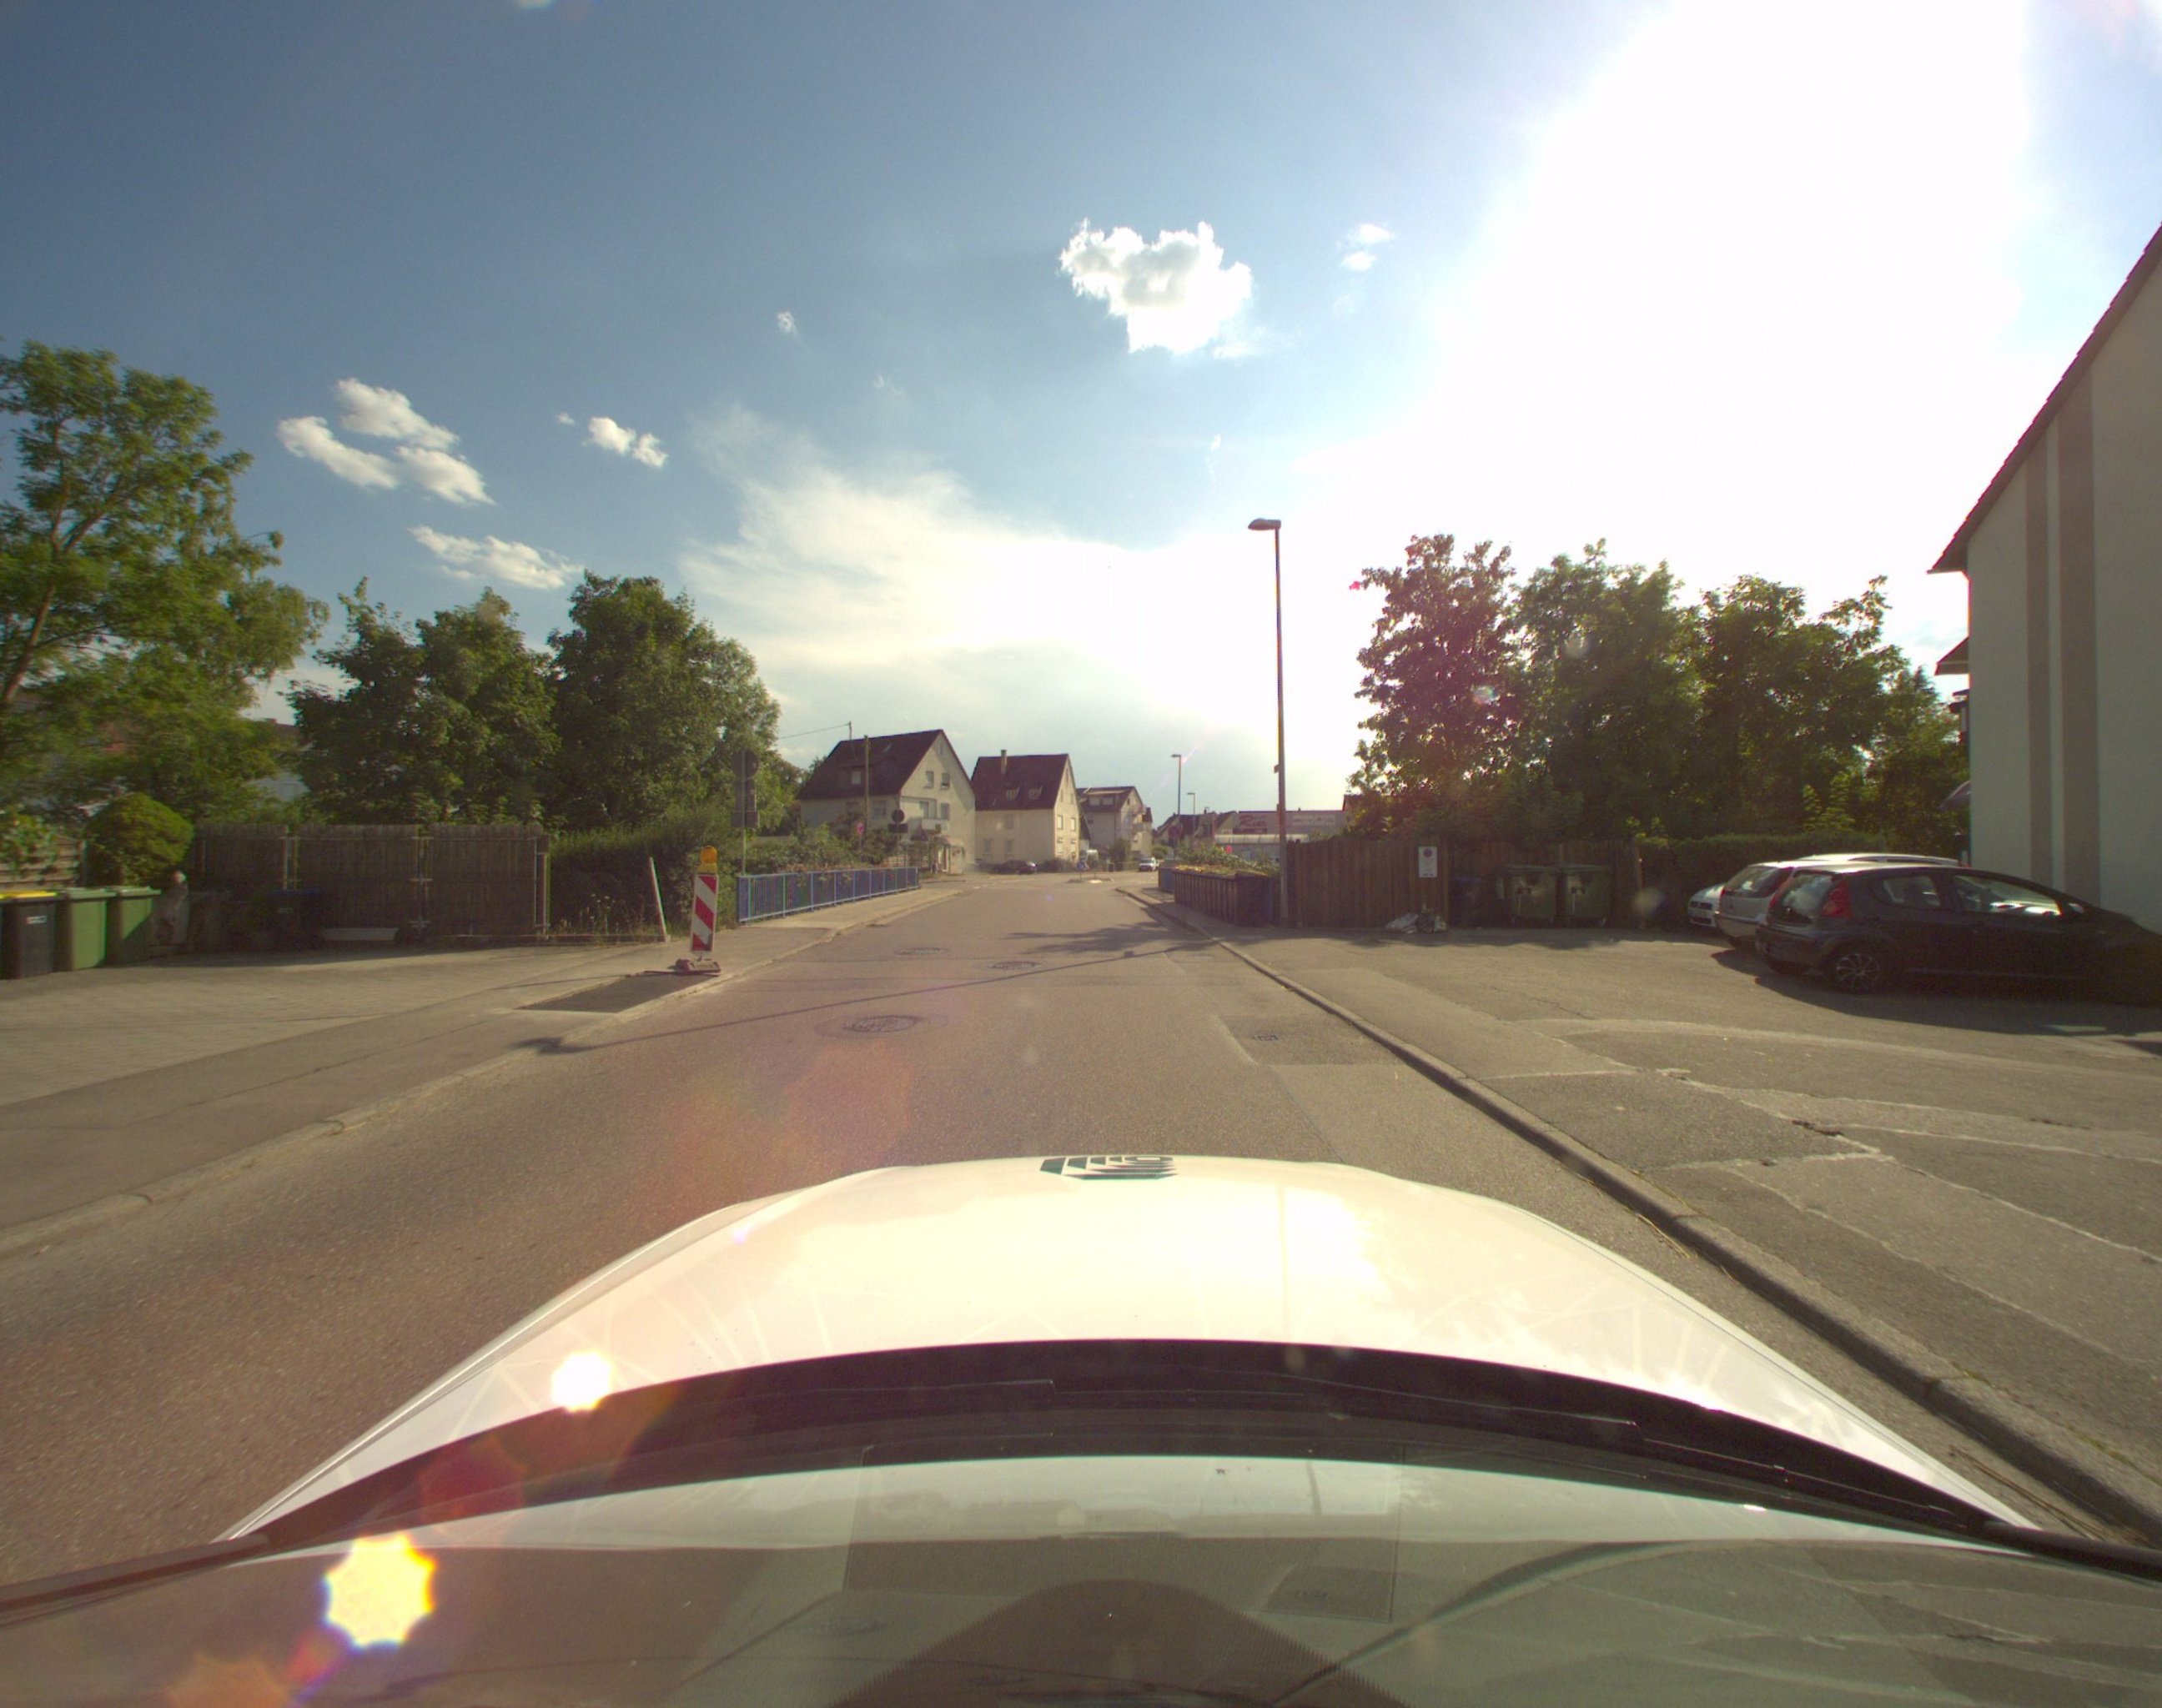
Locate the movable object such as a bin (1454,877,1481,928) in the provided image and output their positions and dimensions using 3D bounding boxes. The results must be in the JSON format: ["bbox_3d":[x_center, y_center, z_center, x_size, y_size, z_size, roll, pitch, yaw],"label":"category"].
[{"bbox_3d":[8.254,1.035,17.410,0.428,1.044,0.443,0,1,11],"label":"movable object such as a bin"}]

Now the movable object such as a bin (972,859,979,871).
[{"bbox_3d":[-9.270,0.996,71.667,0.357,1.023,0.580,0,-2,30],"label":"movable object such as a bin"}]

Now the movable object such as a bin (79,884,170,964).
[{"bbox_3d":[-13.475,0.977,11.491,0.546,1.050,0.591,0,1,-7],"label":"movable object such as a bin"}]

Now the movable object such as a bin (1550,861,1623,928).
[{"bbox_3d":[10.571,0.823,17.077,1.034,1.337,1.007,0,1,11],"label":"movable object such as a bin"}]

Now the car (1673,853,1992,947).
[{"bbox_3d":[12.721,0.722,14.066,3.715,1.450,1.643,0,1,16],"label":"car"}]

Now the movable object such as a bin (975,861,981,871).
[{"bbox_3d":[-9.117,1.063,72.218,0.357,0.925,0.402,0,-2,30],"label":"movable object such as a bin"}]

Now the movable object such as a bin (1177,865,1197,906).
[{"bbox_3d":[3.049,0.897,23.446,0.477,1.143,0.538,-1,0,-2],"label":"movable object such as a bin"}]

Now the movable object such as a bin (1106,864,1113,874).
[{"bbox_3d":[3.247,1.740,93.233,0.606,1.101,0.578,1,-1,13],"label":"movable object such as a bin"}]

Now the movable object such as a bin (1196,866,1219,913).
[{"bbox_3d":[3.172,0.891,20.472,0.477,1.143,0.538,-1,0,-2],"label":"movable object such as a bin"}]

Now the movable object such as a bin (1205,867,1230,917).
[{"bbox_3d":[3.216,0.889,19.228,0.477,1.143,0.538,-1,0,-2],"label":"movable object such as a bin"}]

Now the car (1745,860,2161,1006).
[{"bbox_3d":[10.082,0.821,9.547,3.184,1.450,1.657,0,1,16],"label":"car"}]

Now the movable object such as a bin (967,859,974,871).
[{"bbox_3d":[-9.641,0.946,71.140,0.357,1.041,0.561,0,-2,30],"label":"movable object such as a bin"}]

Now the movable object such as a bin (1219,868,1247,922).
[{"bbox_3d":[3.261,0.875,17.539,0.477,1.143,0.542,-1,0,-2],"label":"movable object such as a bin"}]

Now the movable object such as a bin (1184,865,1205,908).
[{"bbox_3d":[3.098,0.884,22.294,0.477,1.143,0.538,-1,0,-2],"label":"movable object such as a bin"}]

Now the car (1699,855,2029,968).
[{"bbox_3d":[11.194,0.755,11.891,3.103,1.450,1.583,0,1,16],"label":"car"}]

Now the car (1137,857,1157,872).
[{"bbox_3d":[8.399,1.340,103.379,1.704,1.872,4.208,-1,0,14],"label":"car"}]

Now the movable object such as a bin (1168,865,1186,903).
[{"bbox_3d":[2.979,0.914,25.256,0.477,1.143,0.538,-1,0,-2],"label":"movable object such as a bin"}]

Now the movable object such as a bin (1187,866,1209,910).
[{"bbox_3d":[3.114,0.894,21.697,0.477,1.143,0.538,-1,0,-2],"label":"movable object such as a bin"}]

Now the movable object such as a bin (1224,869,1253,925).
[{"bbox_3d":[3.283,0.884,16.966,0.477,1.143,0.538,-1,0,-2],"label":"movable object such as a bin"}]

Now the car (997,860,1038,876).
[{"bbox_3d":[-6.214,1.366,79.640,3.949,1.433,1.663,1,1,40],"label":"car"}]

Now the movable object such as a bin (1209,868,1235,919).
[{"bbox_3d":[3.223,0.888,18.657,0.477,1.143,0.538,-1,0,-2],"label":"movable object such as a bin"}]

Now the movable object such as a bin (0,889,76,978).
[{"bbox_3d":[-13.342,0.993,10.294,0.546,1.050,0.549,0,1,-7],"label":"movable object such as a bin"}]

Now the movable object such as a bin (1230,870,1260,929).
[{"bbox_3d":[3.297,0.906,16.408,0.477,1.143,0.538,-1,0,-2],"label":"movable object such as a bin"}]

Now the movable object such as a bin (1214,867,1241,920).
[{"bbox_3d":[3.254,0.865,18.099,0.477,1.143,0.538,-1,0,-2],"label":"movable object such as a bin"}]

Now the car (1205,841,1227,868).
[{"bbox_3d":[12.138,0.060,73.083,1.825,2.375,5.192,-1,0,9],"label":"car"}]

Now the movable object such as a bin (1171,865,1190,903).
[{"bbox_3d":[3.012,0.900,24.661,0.477,1.143,0.538,-1,0,-2],"label":"movable object such as a bin"}]

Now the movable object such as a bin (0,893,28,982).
[{"bbox_3d":[-13.246,1.009,9.736,0.546,1.050,0.549,0,1,-7],"label":"movable object such as a bin"}]

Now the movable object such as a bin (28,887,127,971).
[{"bbox_3d":[-13.398,0.991,10.890,0.546,1.050,0.591,0,1,-7],"label":"movable object such as a bin"}]

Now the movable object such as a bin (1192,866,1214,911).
[{"bbox_3d":[3.153,0.893,21.088,0.477,1.143,0.564,-1,0,-2],"label":"movable object such as a bin"}]

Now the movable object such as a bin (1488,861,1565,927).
[{"bbox_3d":[9.393,0.852,17.243,1.144,1.337,1.048,0,-5,11],"label":"movable object such as a bin"}]

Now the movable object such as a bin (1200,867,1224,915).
[{"bbox_3d":[3.199,0.890,19.890,0.477,1.143,0.538,-1,0,-2],"label":"movable object such as a bin"}]

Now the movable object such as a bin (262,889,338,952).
[{"bbox_3d":[-12.195,1.024,12.731,0.590,0.918,0.593,0,1,-1],"label":"movable object such as a bin"}]

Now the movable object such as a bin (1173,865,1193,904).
[{"bbox_3d":[3.011,0.900,24.057,0.477,1.143,0.538,-1,0,-2],"label":"movable object such as a bin"}]

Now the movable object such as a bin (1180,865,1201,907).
[{"bbox_3d":[3.073,0.896,22.861,0.477,1.143,0.538,-1,0,-2],"label":"movable object such as a bin"}]
